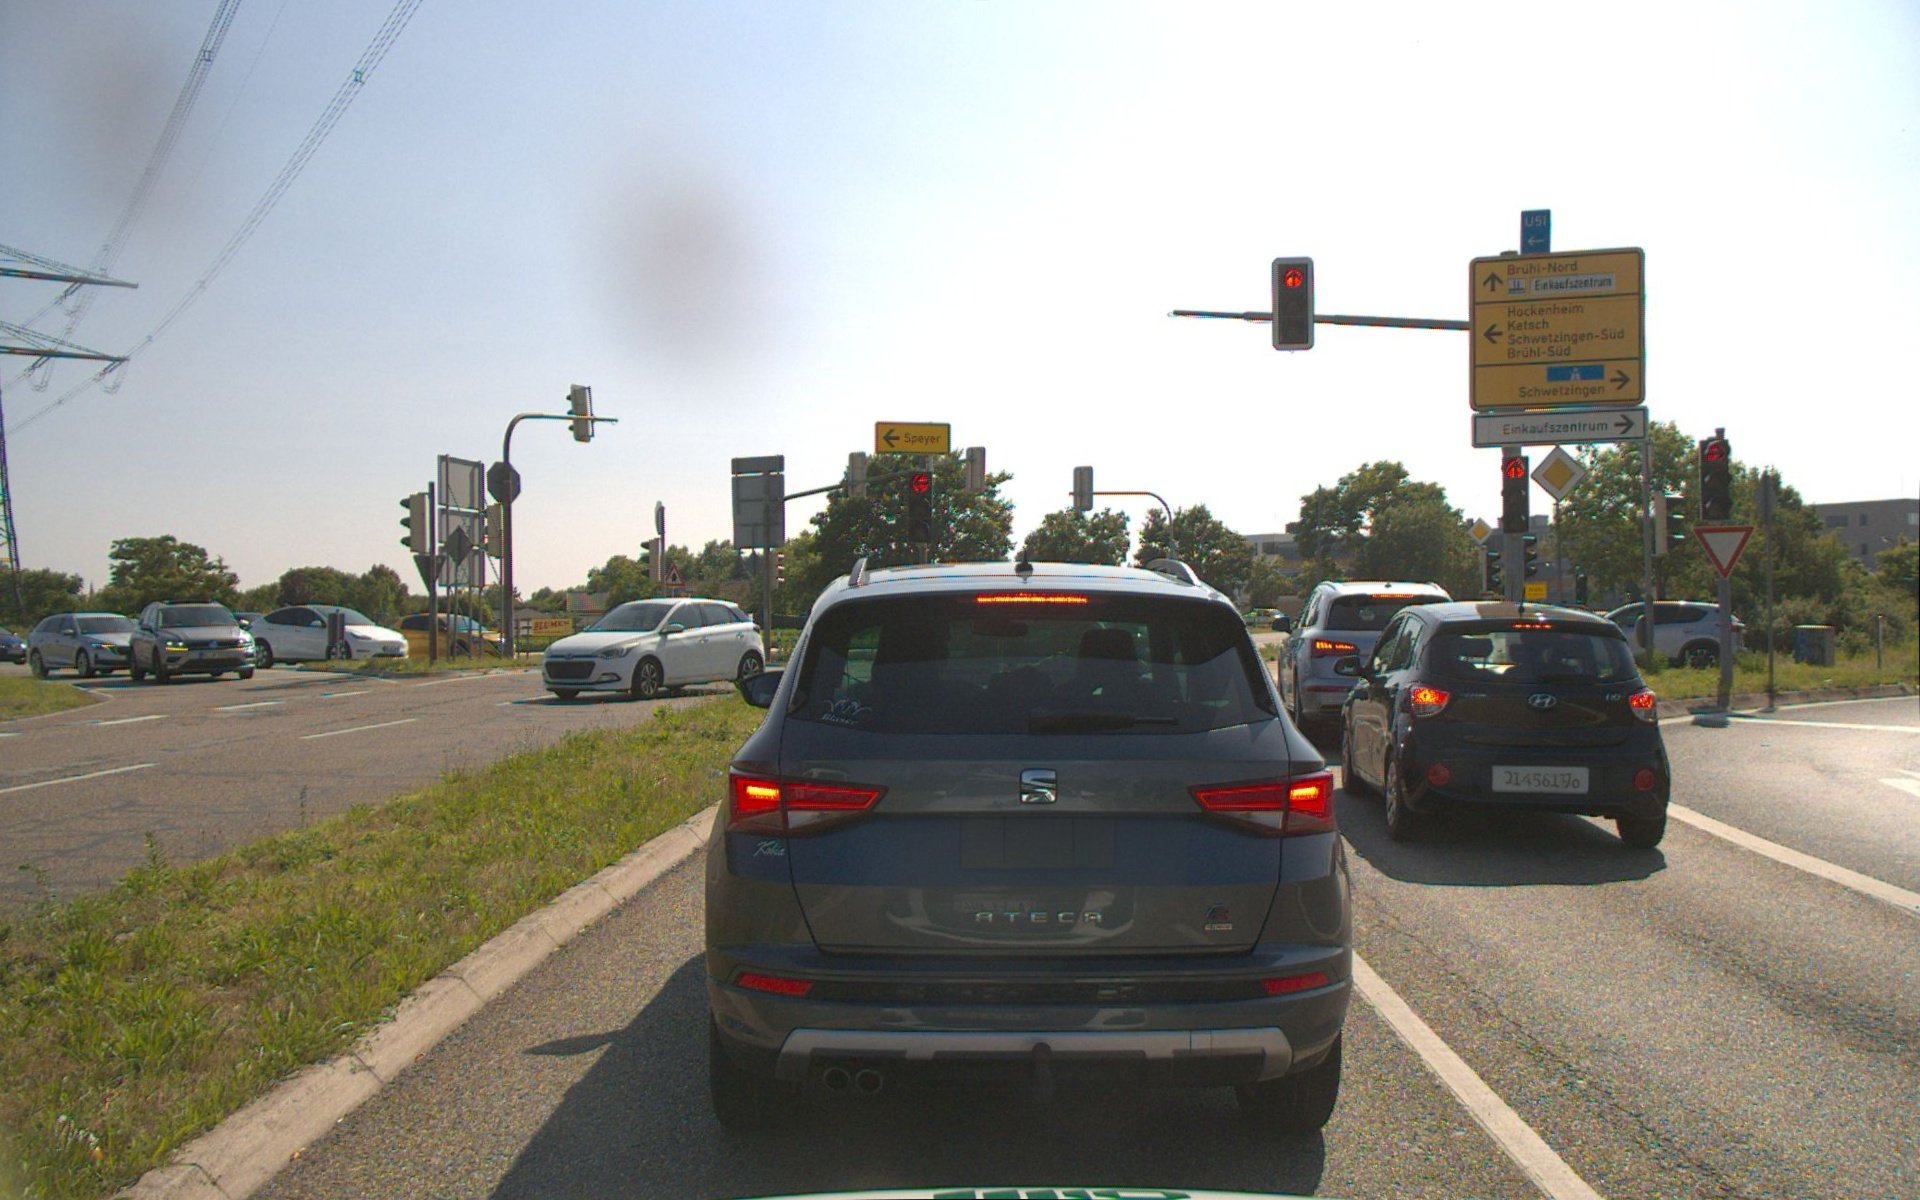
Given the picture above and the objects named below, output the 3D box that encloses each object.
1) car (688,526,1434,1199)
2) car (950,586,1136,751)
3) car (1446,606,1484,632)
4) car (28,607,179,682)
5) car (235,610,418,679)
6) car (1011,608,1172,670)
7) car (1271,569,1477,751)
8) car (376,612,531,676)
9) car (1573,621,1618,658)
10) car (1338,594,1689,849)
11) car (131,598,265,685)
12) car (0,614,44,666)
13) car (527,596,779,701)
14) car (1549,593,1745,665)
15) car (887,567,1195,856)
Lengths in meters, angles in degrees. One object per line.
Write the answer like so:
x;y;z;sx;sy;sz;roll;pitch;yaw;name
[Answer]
0.215;0.654;5.653;1.706;1.596;3.623;1;0;-1;car
0.916;0.650;17.271;1.705;1.510;3.626;1;0;4;car
35.594;1.348;116.482;1.841;1.702;3.765;1;0;28;car
-20.399;1.028;39.328;3.924;1.680;1.811;-1;-1;39;car
-16.491;1.121;43.031;4.654;1.680;1.818;0;-1;27;car
3.409;0.990;42.934;3.789;1.545;1.807;-1;0;23;car
4.291;0.577;17.619;1.598;1.706;3.752;1;0;6;car
-13.884;1.178;45.328;3.910;1.680;1.818;-1;0;27;car
31.600;1.943;82.242;1.839;1.702;3.767;1;0;24;car
3.625;0.709;11.380;1.598;1.473;3.297;1;0;6;car
-15.791;0.817;34.174;1.800;1.680;3.949;0;0;-36;car
-32.667;1.335;55.179;3.910;1.680;1.818;-1;0;27;car
-4.648;0.692;25.569;1.686;1.490;3.903;0;0;31;car
15.357;0.645;37.025;3.944;1.545;1.806;-1;0;25;car
0.462;0.640;11.143;1.706;1.596;3.624;1;0;0;car
